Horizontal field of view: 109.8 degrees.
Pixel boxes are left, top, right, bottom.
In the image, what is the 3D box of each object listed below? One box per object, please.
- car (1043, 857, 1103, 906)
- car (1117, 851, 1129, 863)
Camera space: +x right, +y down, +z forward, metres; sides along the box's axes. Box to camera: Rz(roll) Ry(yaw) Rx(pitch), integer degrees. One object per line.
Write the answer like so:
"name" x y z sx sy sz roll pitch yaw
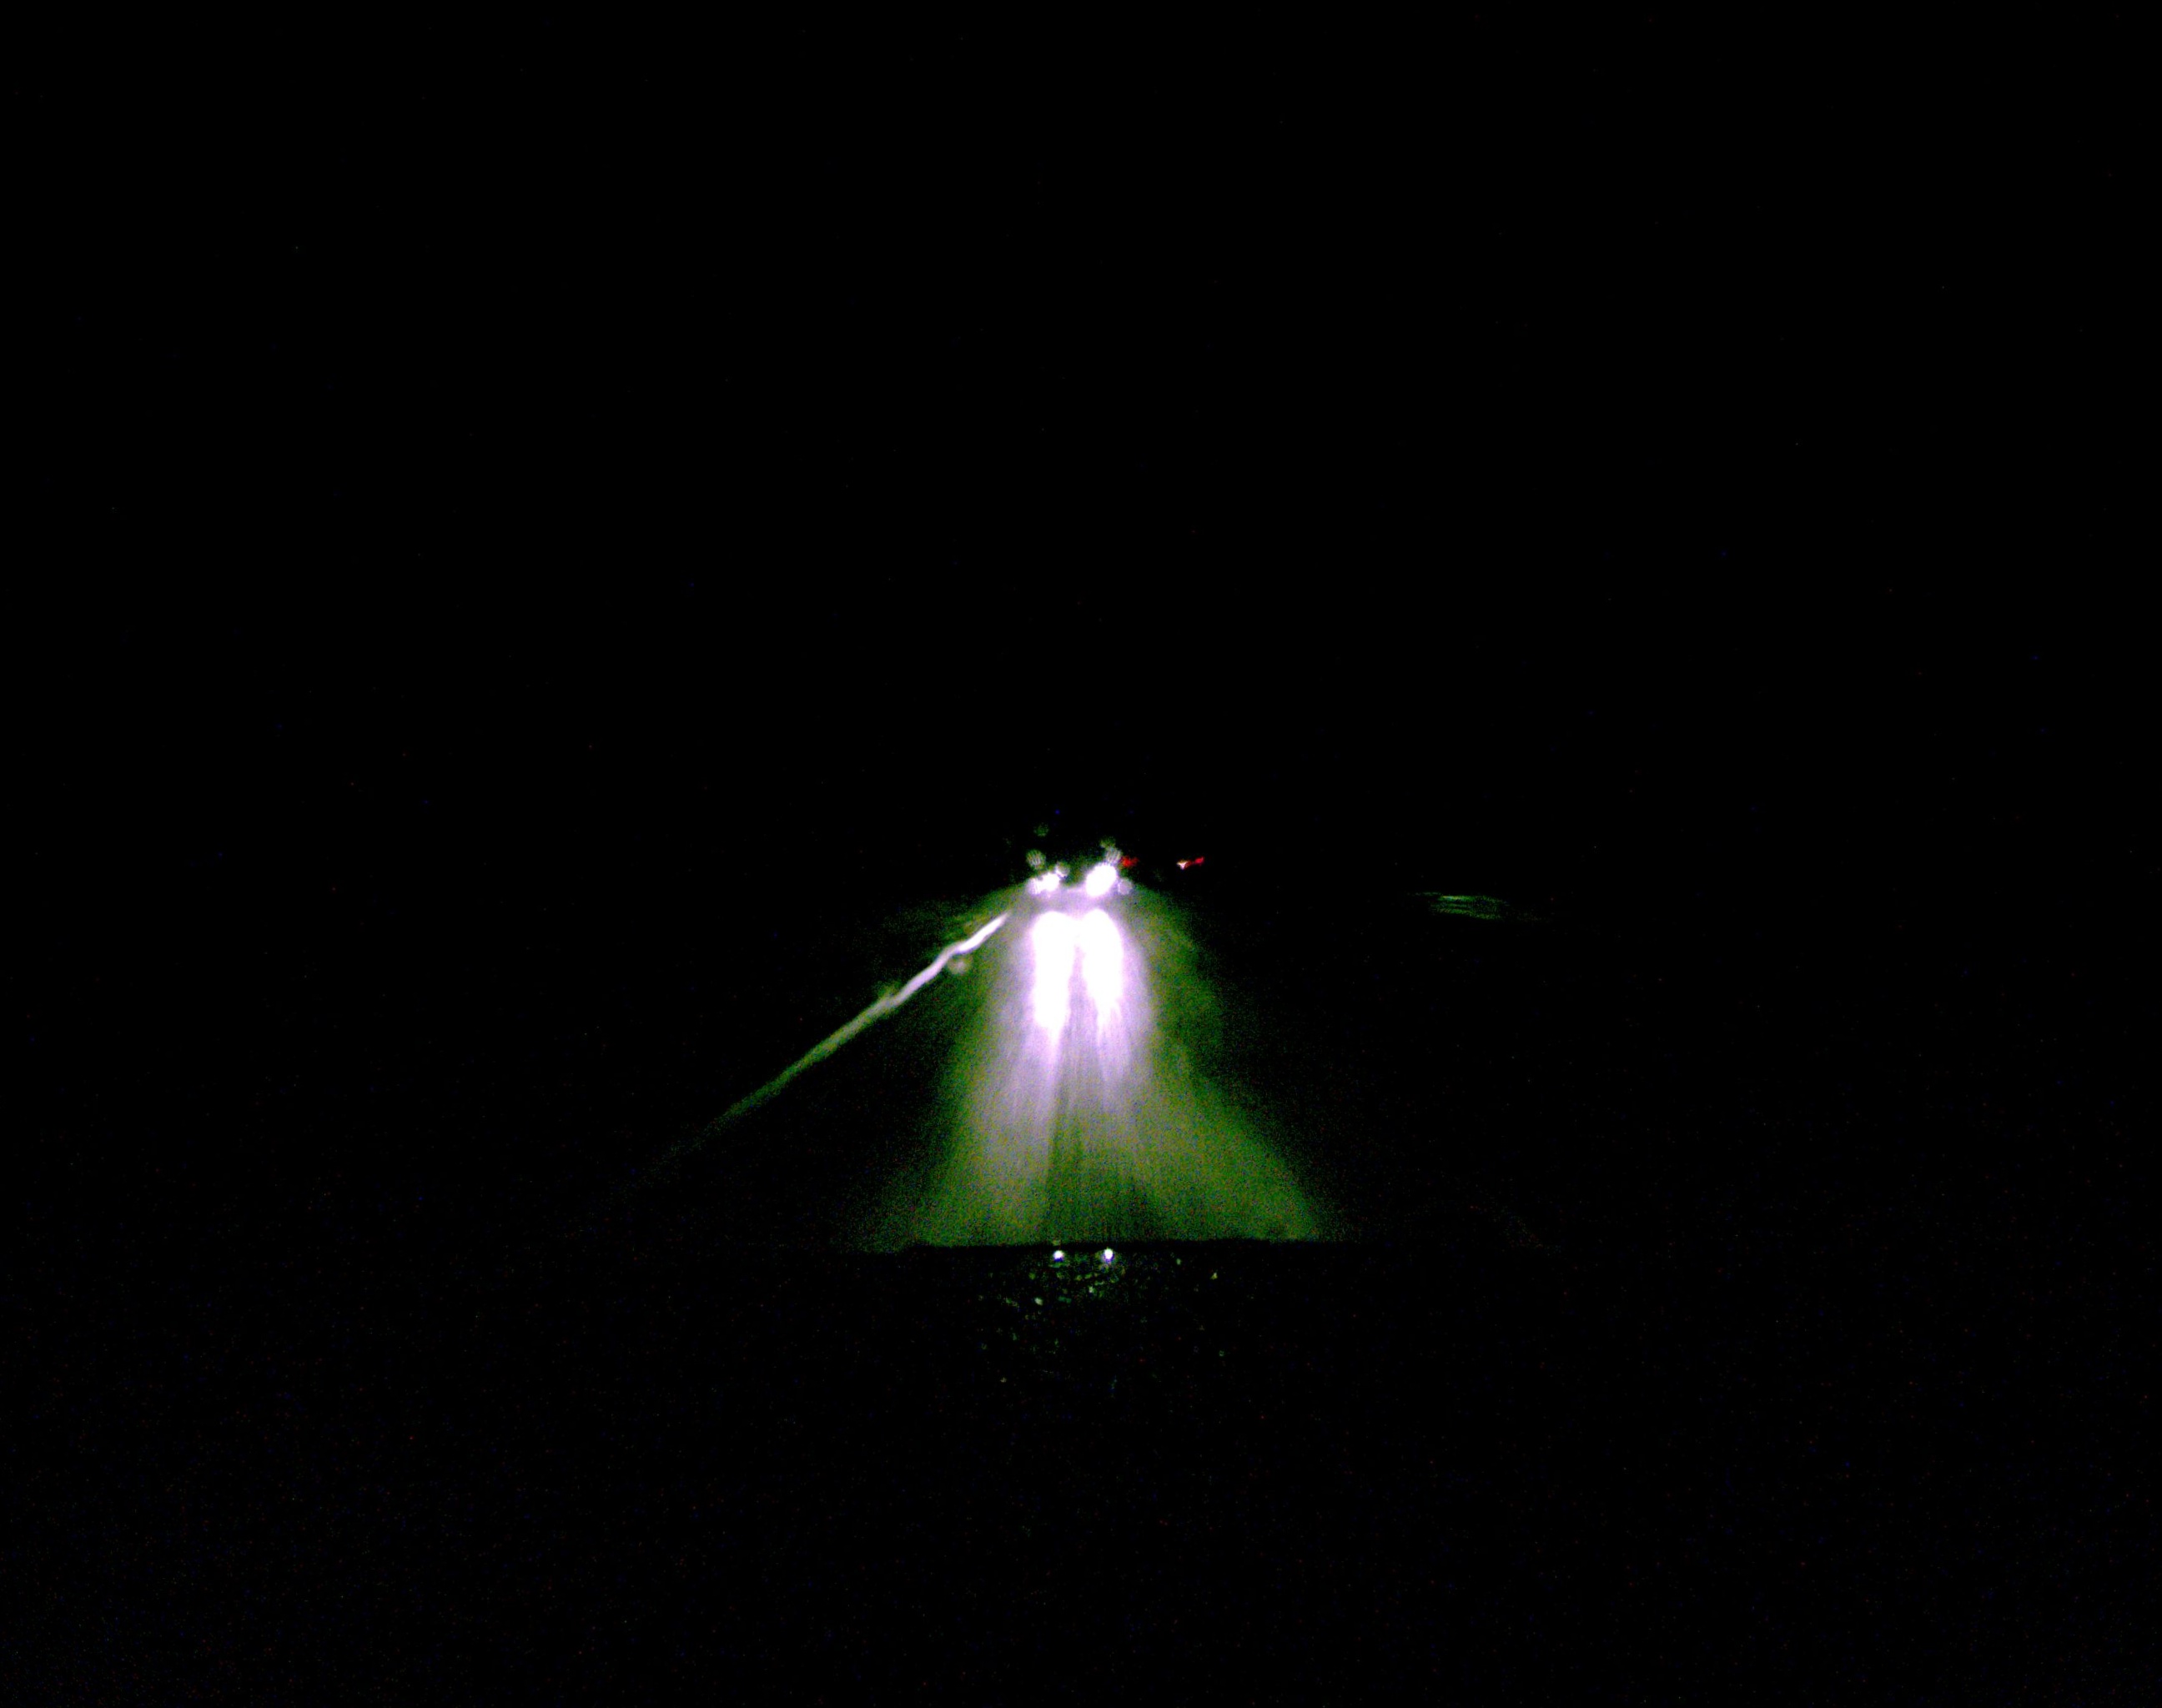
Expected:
"car" -0.196 0.886 25.874 1.744 1.501 3.601 -2 0 3
"car" 6.688 0.482 121.670 1.840 1.833 4.001 1 -1 1
